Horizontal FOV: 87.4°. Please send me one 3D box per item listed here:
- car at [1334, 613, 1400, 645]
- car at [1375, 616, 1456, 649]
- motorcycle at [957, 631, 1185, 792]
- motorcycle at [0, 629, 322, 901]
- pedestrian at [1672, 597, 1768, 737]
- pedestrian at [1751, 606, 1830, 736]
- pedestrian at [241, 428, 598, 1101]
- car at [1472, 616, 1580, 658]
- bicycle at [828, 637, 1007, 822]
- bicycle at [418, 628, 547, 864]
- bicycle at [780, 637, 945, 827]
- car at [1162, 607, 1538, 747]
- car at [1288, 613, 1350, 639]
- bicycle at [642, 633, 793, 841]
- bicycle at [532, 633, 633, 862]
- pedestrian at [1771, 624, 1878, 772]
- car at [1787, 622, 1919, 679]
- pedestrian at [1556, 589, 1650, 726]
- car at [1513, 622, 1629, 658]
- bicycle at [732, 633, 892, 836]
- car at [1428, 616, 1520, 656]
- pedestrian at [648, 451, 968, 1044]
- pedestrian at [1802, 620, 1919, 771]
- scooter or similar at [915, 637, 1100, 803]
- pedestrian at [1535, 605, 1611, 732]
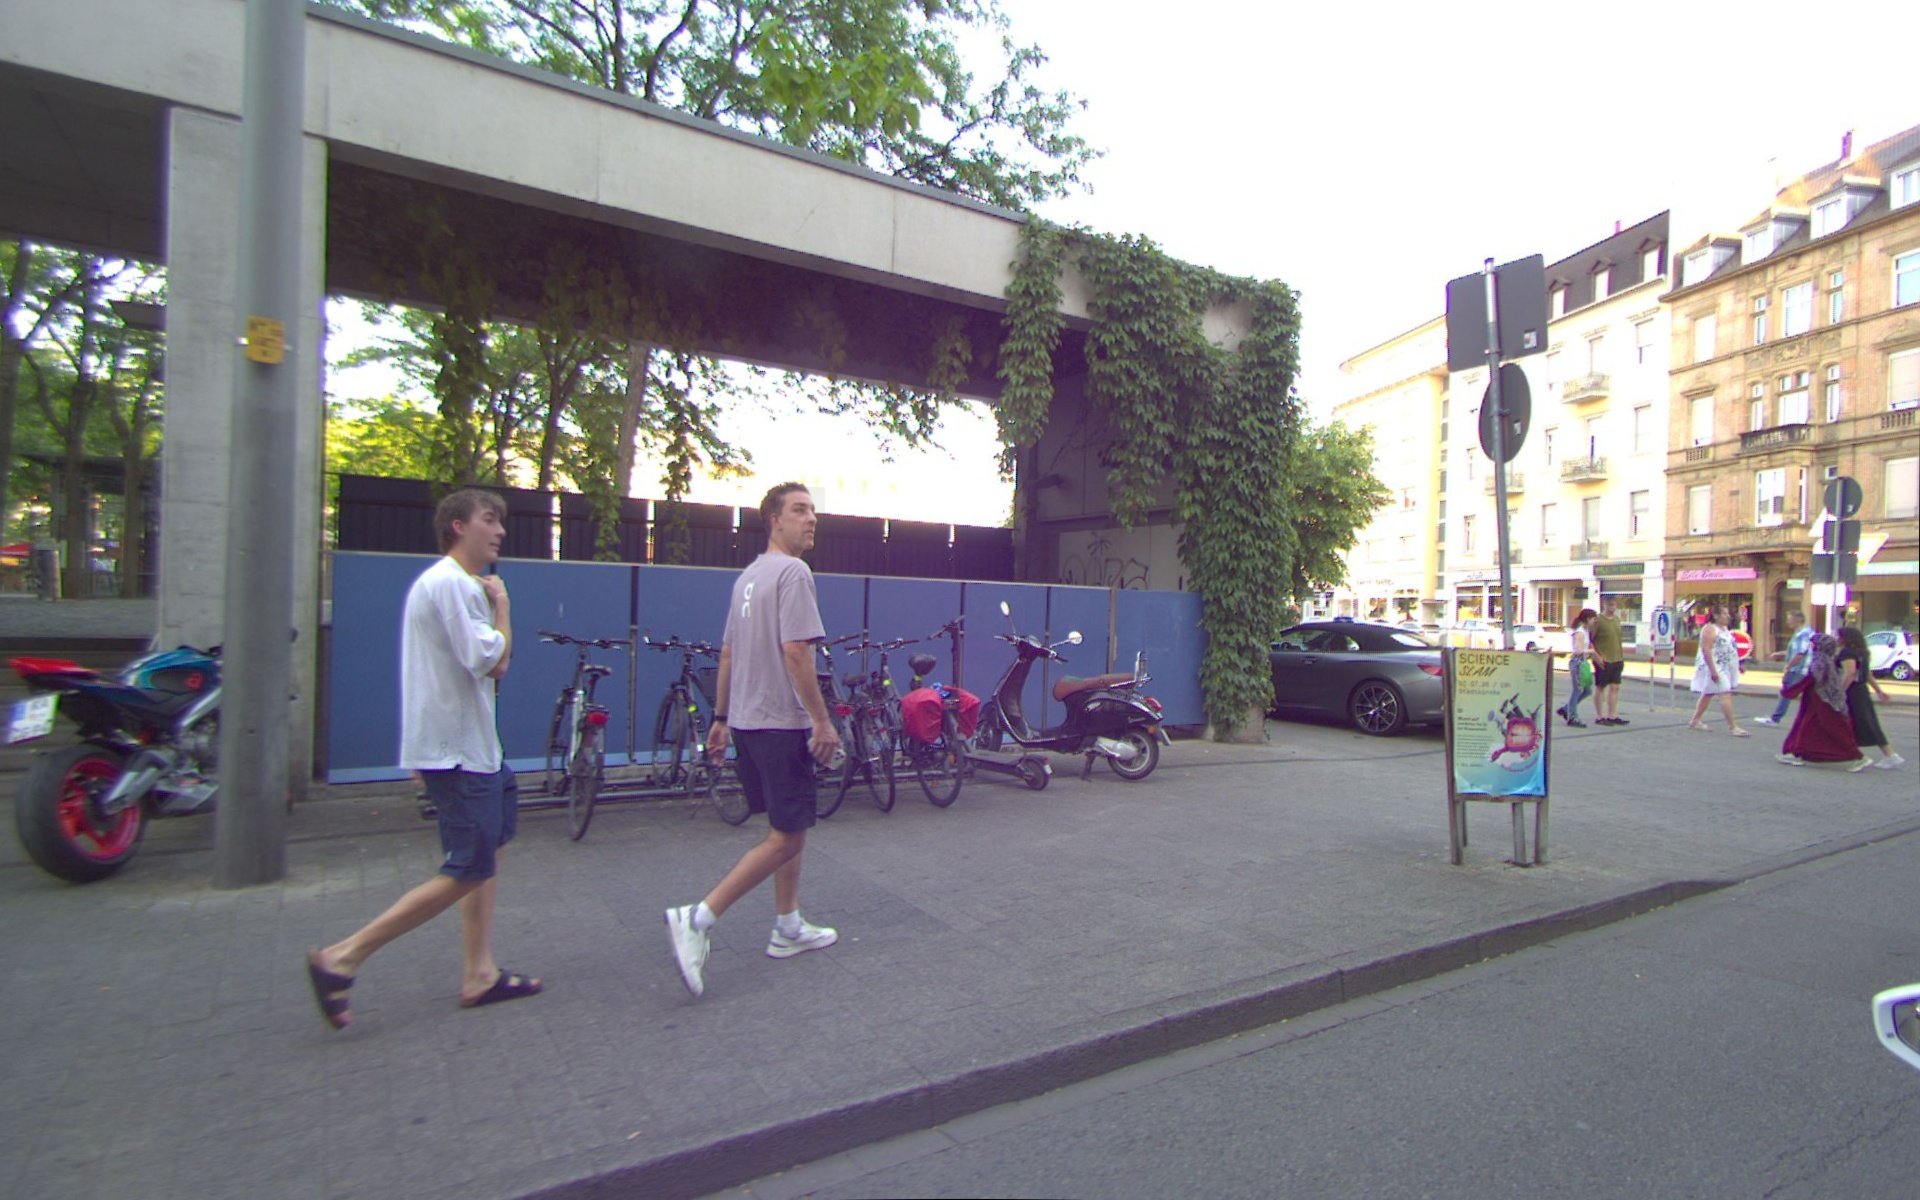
[{"bbox_3d":[25.704,1.810,63.554,1.840,1.786,4.401,2,1,-8],"label":"car"},{"bbox_3d":[26.216,1.843,58.001,1.985,1.564,4.862,2,1,-7],"label":"car"},{"bbox_3d":[0.912,0.887,8.445,1.795,1.142,0.536,2,1,27],"label":"motorcycle"},{"bbox_3d":[-4.133,0.740,5.230,0.523,1.083,1.828,2,1,-3],"label":"motorcycle"},{"bbox_3d":[10.496,0.896,13.905,0.866,1.827,0.713,2,1,27],"label":"pedestrian"},{"bbox_3d":[11.872,0.985,14.388,0.675,1.769,0.715,2,1,29],"label":"pedestrian"},{"bbox_3d":[-1.780,0.445,3.355,0.879,1.818,0.977,1,1,-30],"label":"pedestrian"},{"bbox_3d":[24.916,1.596,44.383,1.784,1.538,4.225,2,1,-12],"label":"car"},{"bbox_3d":[-0.346,0.859,7.228,0.542,1.102,1.482,1,1,-35],"label":"bicycle"},{"bbox_3d":[-2.918,0.773,6.047,0.544,1.101,1.858,1,1,-30],"label":"bicycle"},{"bbox_3d":[-0.717,0.845,6.954,0.438,1.084,1.482,1,1,-35],"label":"bicycle"},{"bbox_3d":[5.209,0.914,13.933,2.088,1.450,4.401,1,1,-38],"label":"car"},{"bbox_3d":[24.884,1.768,69.732,1.964,1.634,4.796,2,-1,-9],"label":"car"},{"bbox_3d":[-1.600,0.807,6.460,0.407,1.102,1.482,1,1,-35],"label":"bicycle"},{"bbox_3d":[-2.268,0.793,5.957,0.430,1.102,1.488,1,1,-25],"label":"bicycle"},{"bbox_3d":[9.653,1.073,11.236,0.666,1.563,0.593,2,1,16],"label":"pedestrian"},{"bbox_3d":[29.933,1.637,33.153,1.674,1.606,3.994,1,1,-8],"label":"car"},{"bbox_3d":[9.221,0.805,14.422,0.839,1.902,0.711,2,1,-19],"label":"pedestrian"},{"bbox_3d":[28.142,1.812,46.488,1.963,1.453,4.844,2,-1,-8],"label":"car"},{"bbox_3d":[-1.030,0.825,6.712,0.407,1.126,1.482,1,1,-35],"label":"bicycle"},{"bbox_3d":[26.652,1.849,52.289,1.853,1.768,4.652,2,1,-8],"label":"car"},{"bbox_3d":[-0.619,0.474,3.868,0.879,1.909,0.977,1,1,-30],"label":"pedestrian"},{"bbox_3d":[10.273,1.053,11.424,0.783,1.603,0.730,2,1,16],"label":"pedestrian"},{"bbox_3d":[0.342,0.887,7.861,1.475,1.102,0.409,3,1,41],"label":"scooter or similar"},{"bbox_3d":[8.561,0.925,14.063,0.700,1.691,0.882,2,1,22],"label":"pedestrian"}]
